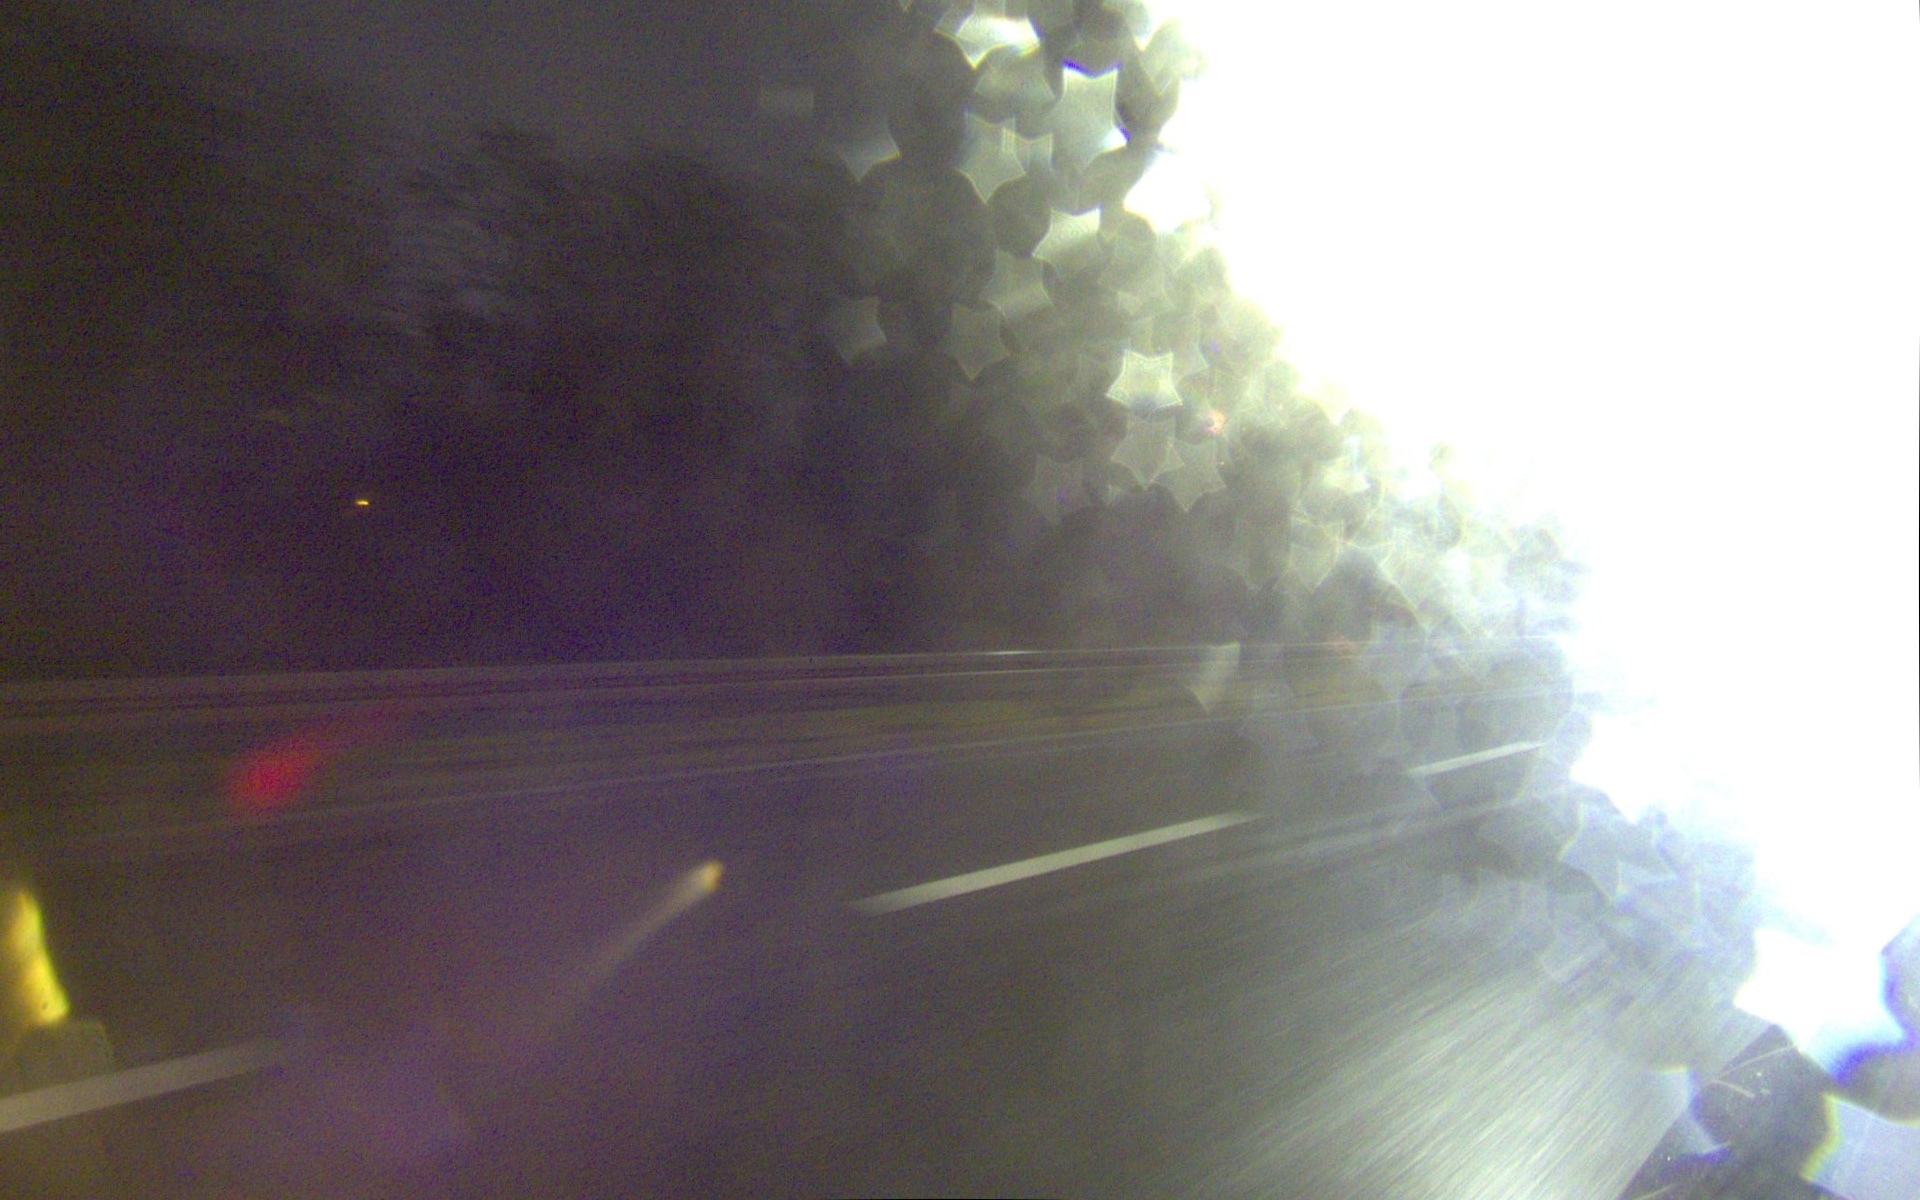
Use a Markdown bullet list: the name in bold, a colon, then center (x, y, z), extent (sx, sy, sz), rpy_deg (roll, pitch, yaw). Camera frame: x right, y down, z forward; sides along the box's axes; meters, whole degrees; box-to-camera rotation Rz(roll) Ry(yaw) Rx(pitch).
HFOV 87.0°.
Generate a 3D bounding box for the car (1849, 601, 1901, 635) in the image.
- **car**: center (58.564, 1.119, 64.846), extent (1.990, 1.957, 3.945), rpy_deg (5, 2, 37)

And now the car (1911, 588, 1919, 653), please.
- **car**: center (29.748, 0.650, 30.102), extent (3.934, 1.896, 1.933), rpy_deg (1, 2, -44)

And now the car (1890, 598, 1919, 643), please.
- **car**: center (44.835, 1.000, 47.090), extent (1.993, 1.957, 3.941), rpy_deg (6, 2, 40)
